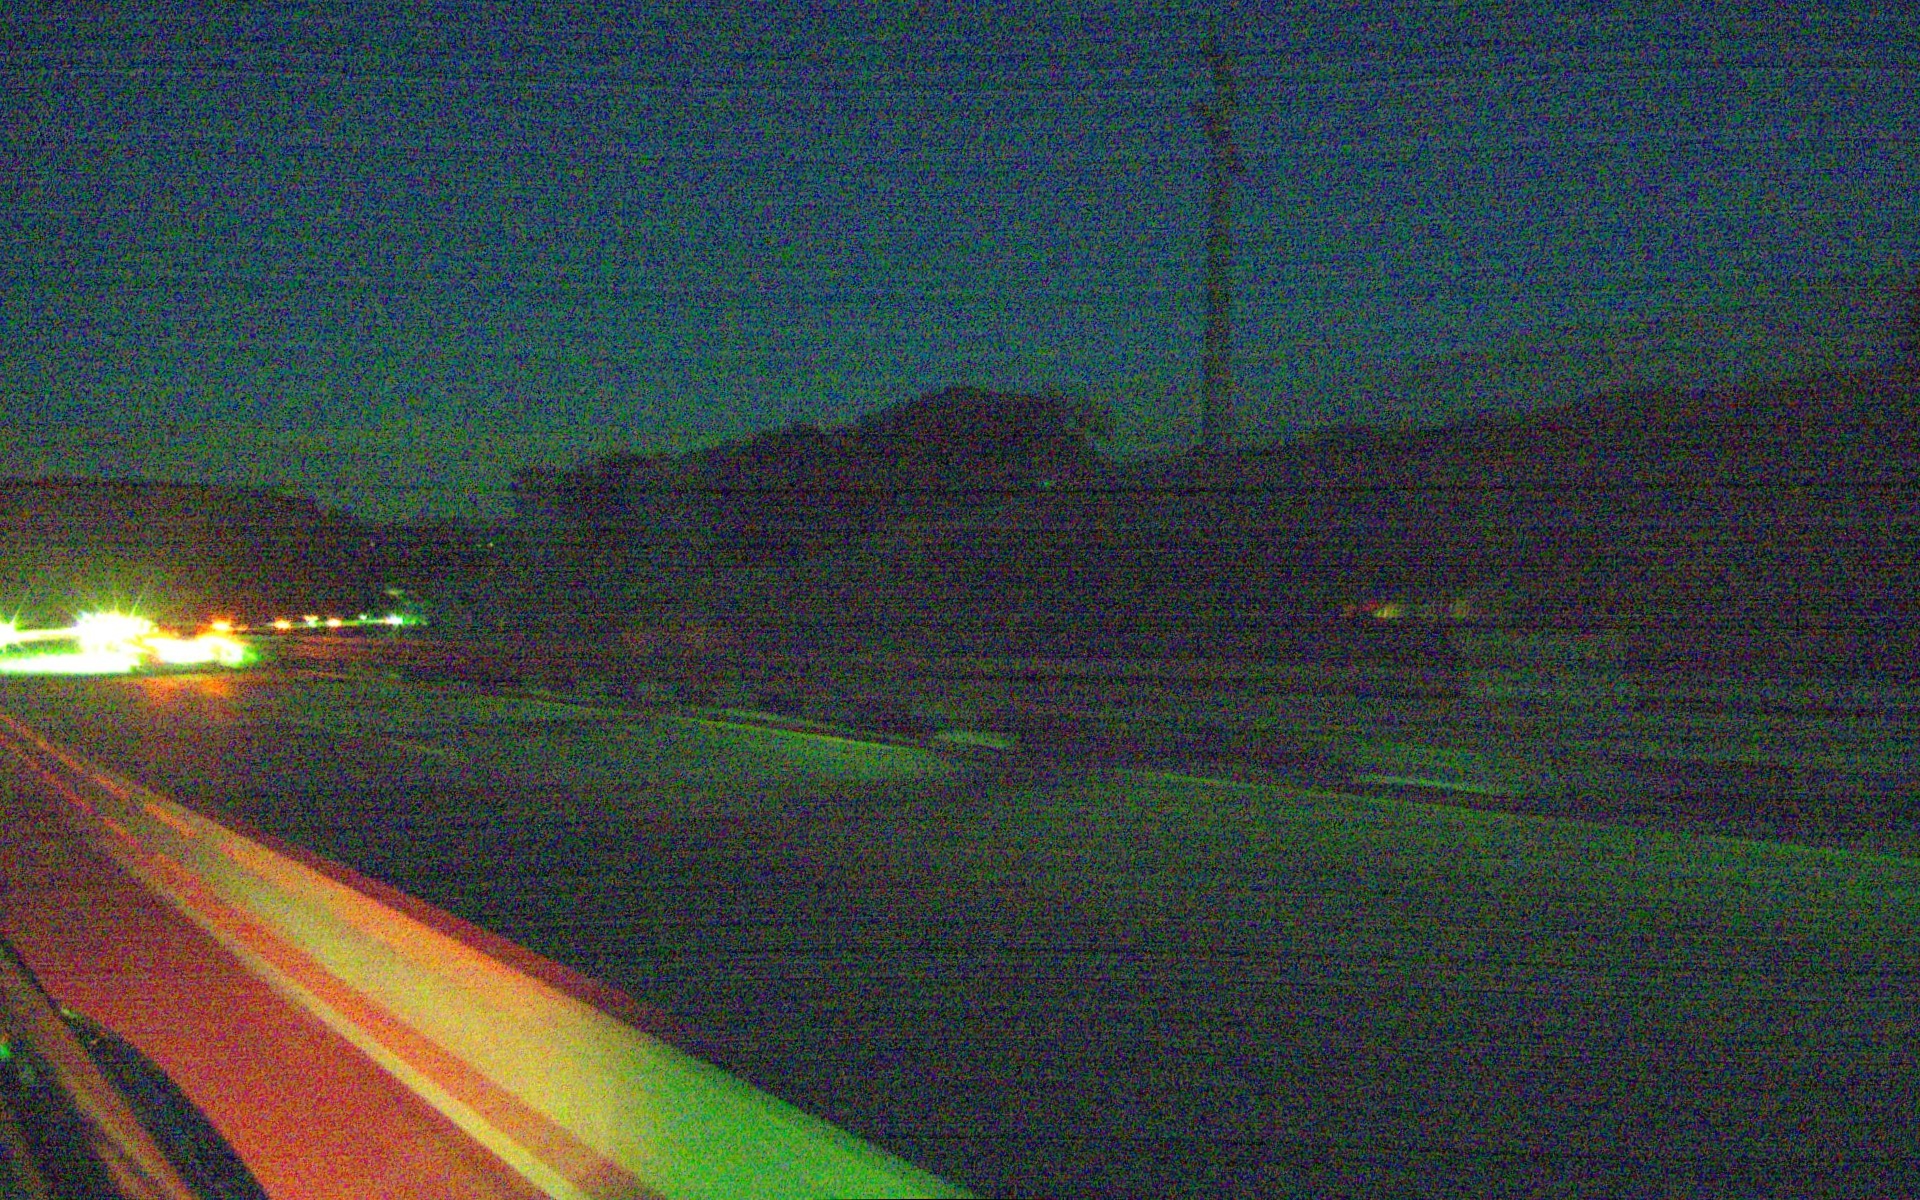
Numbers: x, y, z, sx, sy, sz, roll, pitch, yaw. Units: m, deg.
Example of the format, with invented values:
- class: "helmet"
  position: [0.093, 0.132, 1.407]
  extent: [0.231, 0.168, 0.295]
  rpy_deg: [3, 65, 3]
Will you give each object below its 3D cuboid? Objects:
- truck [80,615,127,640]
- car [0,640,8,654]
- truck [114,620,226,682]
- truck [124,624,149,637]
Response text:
- class: "truck"
  position: [-157.454, 4.976, 186.267]
  extent: [2.923, 4.307, 17.199]
  rpy_deg: [1, -1, -28]
- class: "car"
  position: [-107.457, 5.230, 112.580]
  extent: [1.784, 1.529, 3.944]
  rpy_deg: [2, -3, -36]
- class: "truck"
  position: [-21.517, 1.335, 27.521]
  extent: [4.152, 1.481, 1.665]
  rpy_deg: [0, 1, 42]
- class: "truck"
  position: [-155.444, 5.697, 191.071]
  extent: [2.387, 2.443, 7.113]
  rpy_deg: [1, -2, -30]
